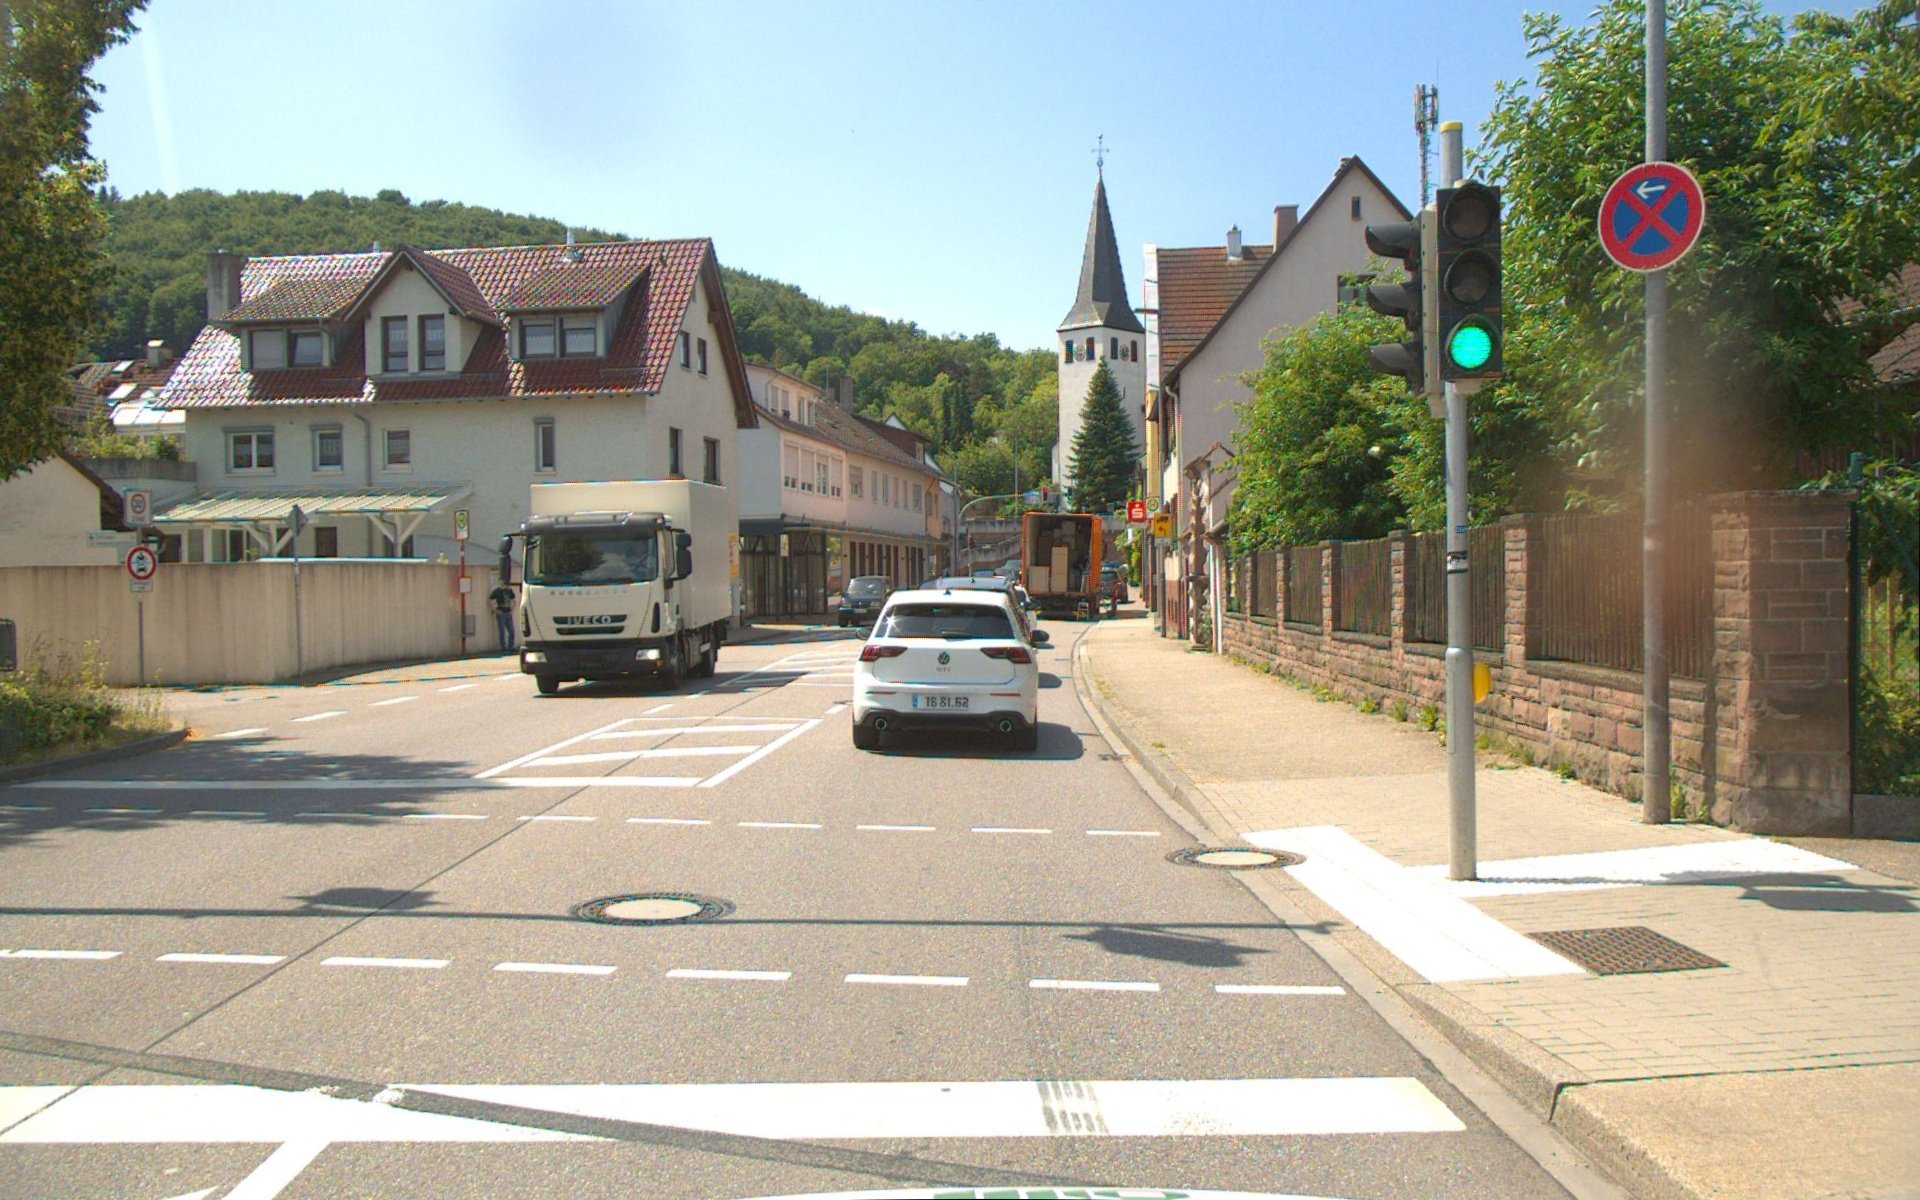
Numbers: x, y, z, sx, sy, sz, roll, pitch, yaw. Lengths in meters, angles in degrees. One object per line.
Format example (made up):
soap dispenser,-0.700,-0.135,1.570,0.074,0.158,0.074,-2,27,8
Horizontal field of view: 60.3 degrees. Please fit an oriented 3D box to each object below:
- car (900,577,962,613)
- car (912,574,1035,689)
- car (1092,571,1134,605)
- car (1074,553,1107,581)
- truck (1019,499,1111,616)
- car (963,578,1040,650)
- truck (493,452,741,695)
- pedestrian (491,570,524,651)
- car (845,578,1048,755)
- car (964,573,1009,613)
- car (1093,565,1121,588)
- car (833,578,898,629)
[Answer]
car,-1.222,-0.227,71.809,1.823,1.467,4.221,-2,0,10
car,0.268,0.463,26.646,1.777,1.657,4.001,-2,0,2
car,7.499,-0.573,81.448,1.777,1.545,4.001,-2,0,2
car,7.923,-1.978,100.666,1.777,1.545,4.001,-2,0,2
truck,4.246,-1.599,66.335,3.296,4.242,9.524,-2,0,4
car,1.051,0.326,41.217,1.777,1.657,4.001,-2,0,2
truck,-5.169,-0.367,26.014,2.450,3.292,6.041,-2,0,1
pedestrian,-10.067,0.233,36.827,0.425,1.795,0.557,-1,1,21
car,-0.056,0.578,16.533,1.777,1.545,4.001,0,0,2
car,1.127,-0.286,69.034,1.777,1.545,4.001,-2,0,2
car,10.841,-1.718,121.849,1.777,1.545,4.001,-2,0,2
car,-3.211,0.104,56.987,1.702,1.680,3.671,-1,1,5
